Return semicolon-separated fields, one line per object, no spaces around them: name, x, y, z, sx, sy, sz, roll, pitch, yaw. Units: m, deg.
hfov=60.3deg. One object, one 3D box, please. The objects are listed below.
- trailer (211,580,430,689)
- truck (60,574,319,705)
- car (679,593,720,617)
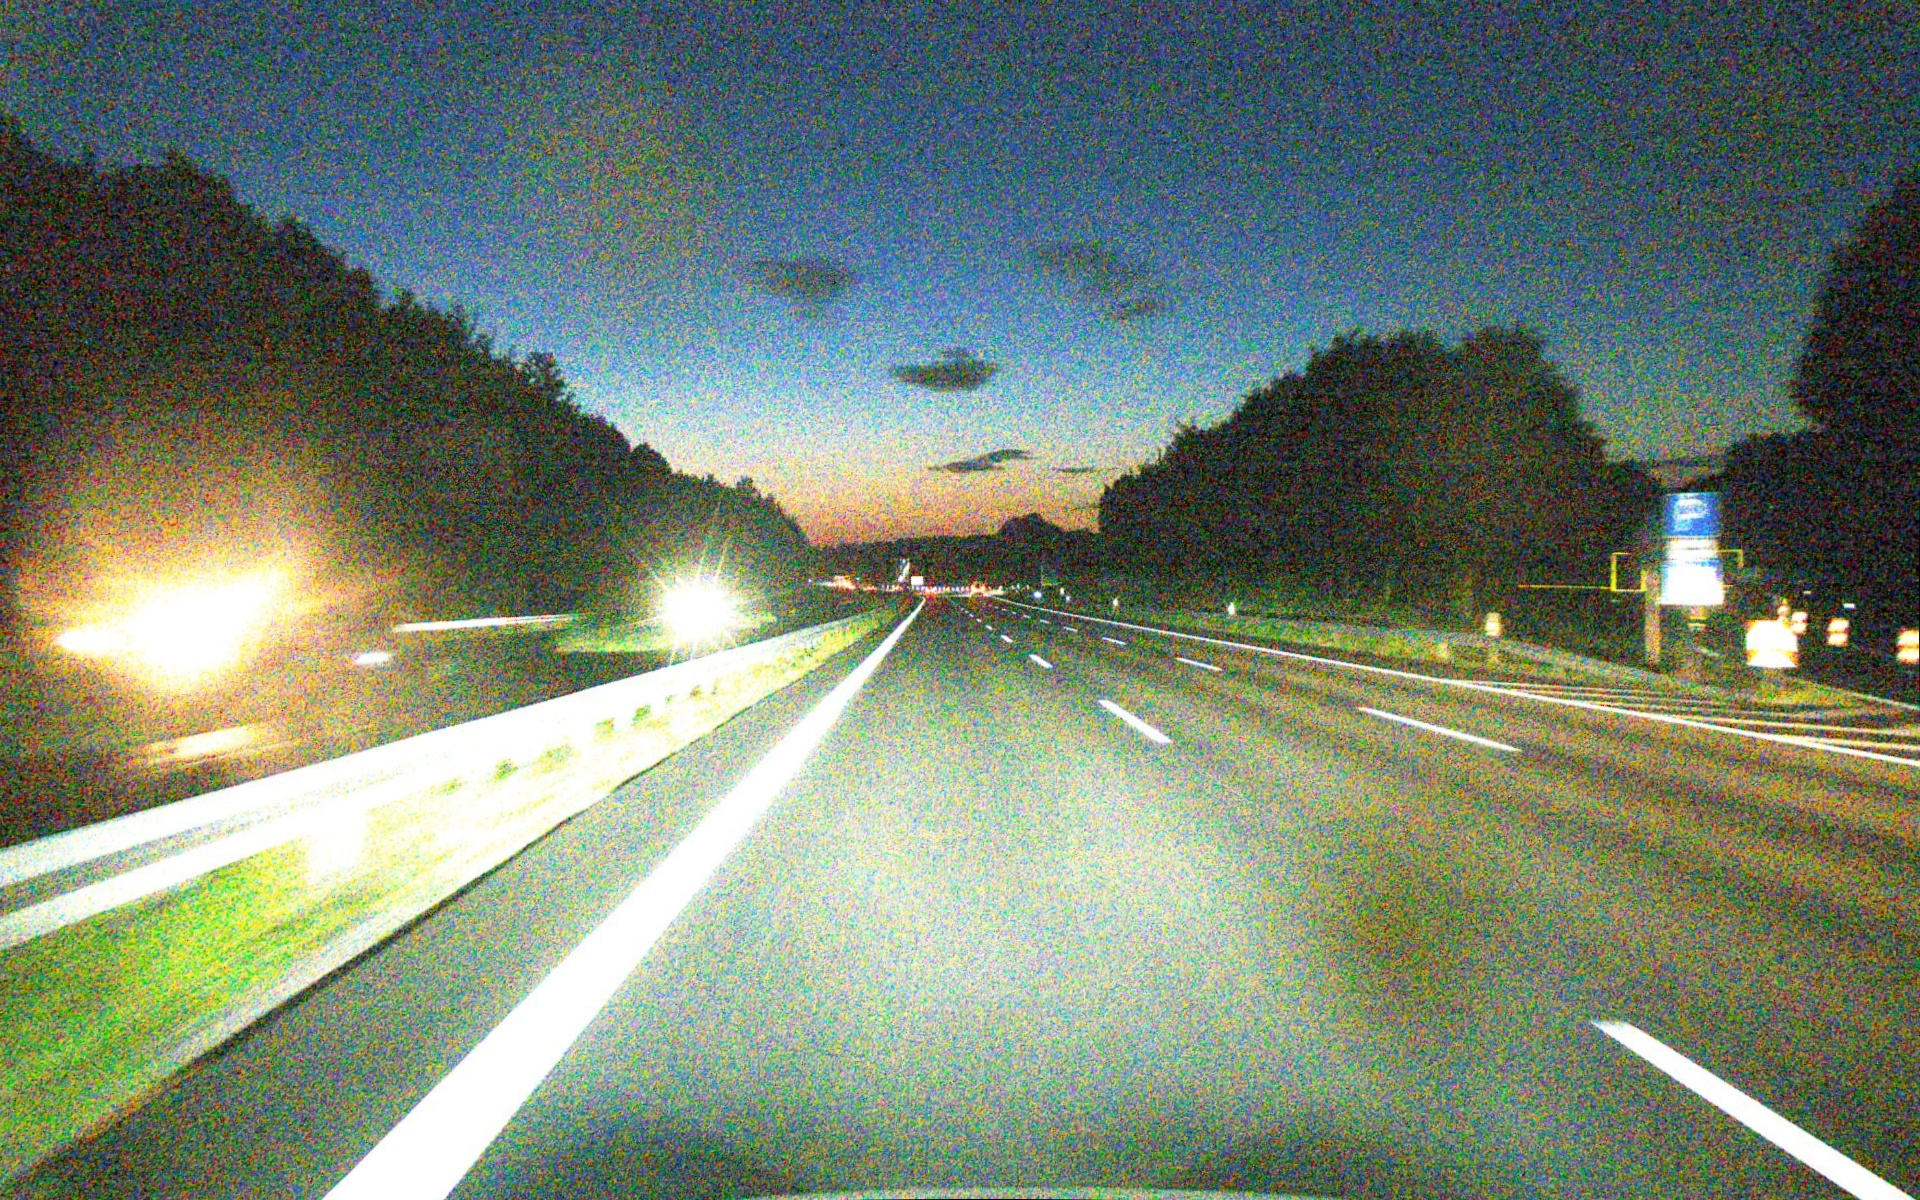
trailer;-12.920;0.618;33.997;1.953;1.974;6.621;-1;0;0
truck;-12.880;0.622;28.094;1.953;1.976;5.240;-1;0;0
car;-17.374;0.311;110.538;1.953;1.530;5.200;-2;0;-1
